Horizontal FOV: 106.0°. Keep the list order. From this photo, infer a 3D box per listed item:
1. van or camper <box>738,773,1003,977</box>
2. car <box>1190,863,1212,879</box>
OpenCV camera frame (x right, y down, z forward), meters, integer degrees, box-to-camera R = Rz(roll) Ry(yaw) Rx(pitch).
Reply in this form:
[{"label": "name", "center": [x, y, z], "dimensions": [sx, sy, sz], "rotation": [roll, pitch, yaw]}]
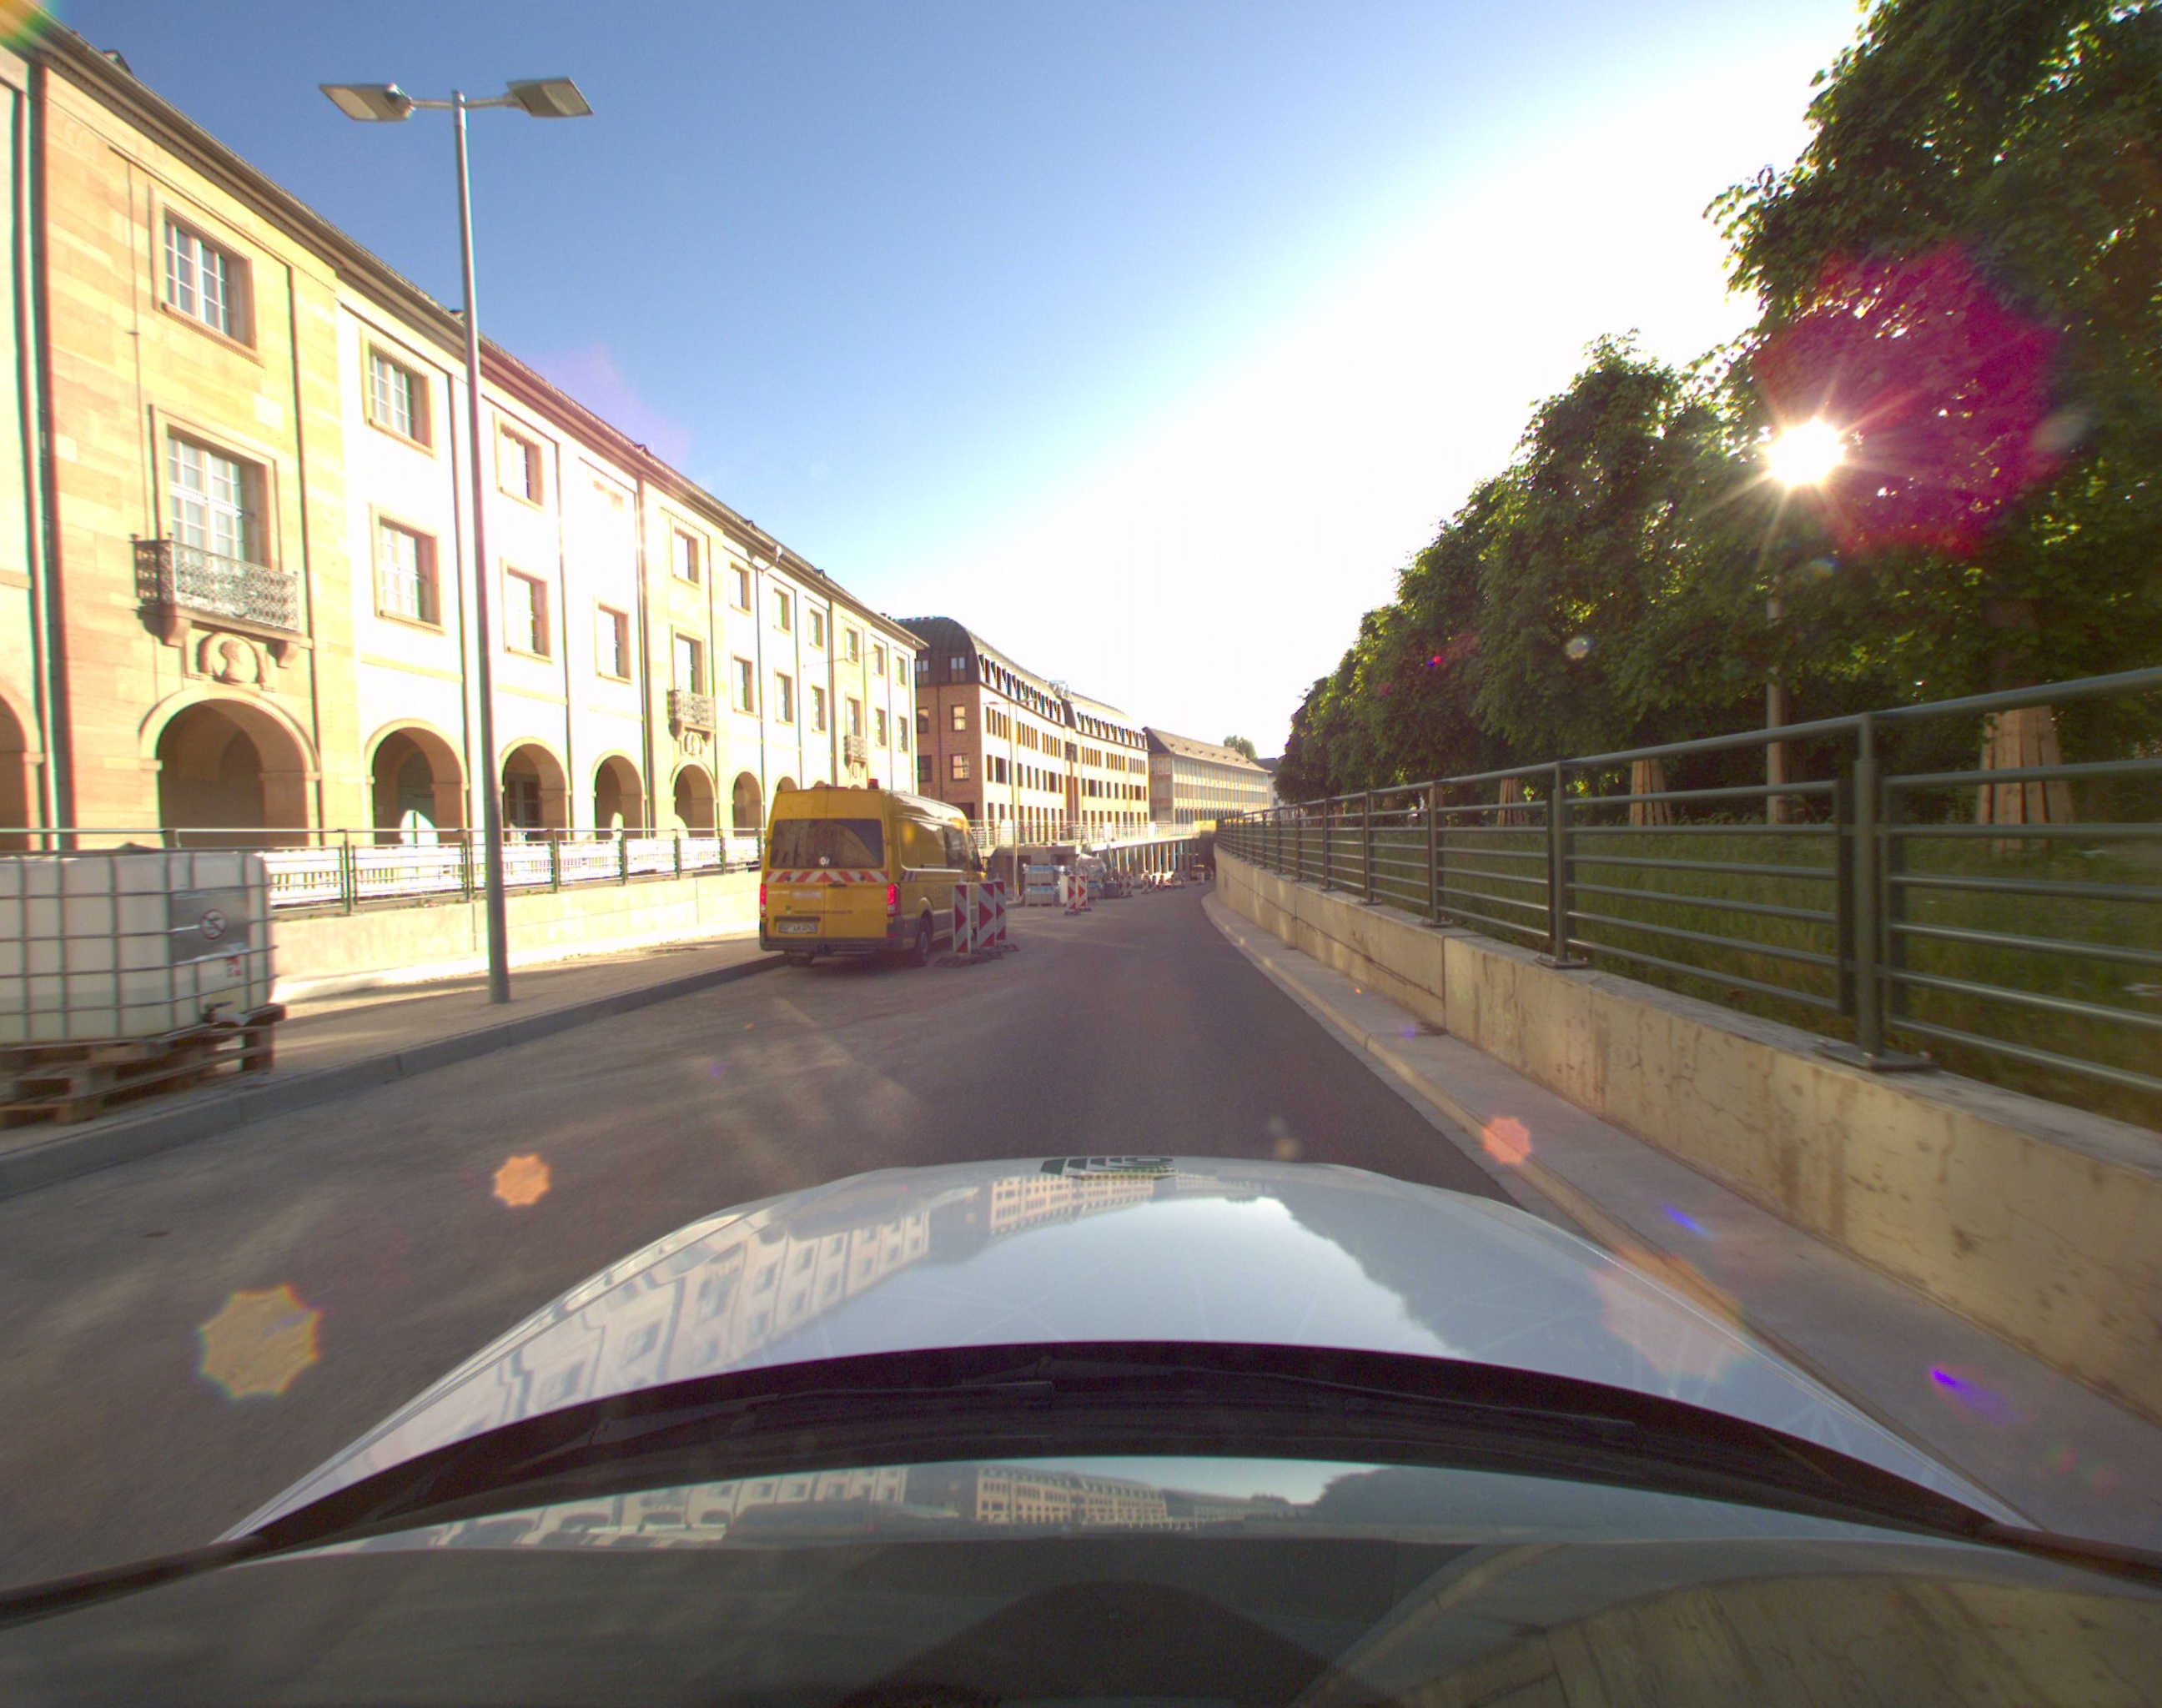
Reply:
[{"label": "van or camper", "center": [-3.068, 0.305, 13.977], "dimensions": [2.183, 2.612, 6.834], "rotation": [1, -1, 5]}, {"label": "car", "center": [14.550, 2.038, 98.928], "dimensions": [1.833, 1.775, 4.456], "rotation": [-1, 1, 19]}]
